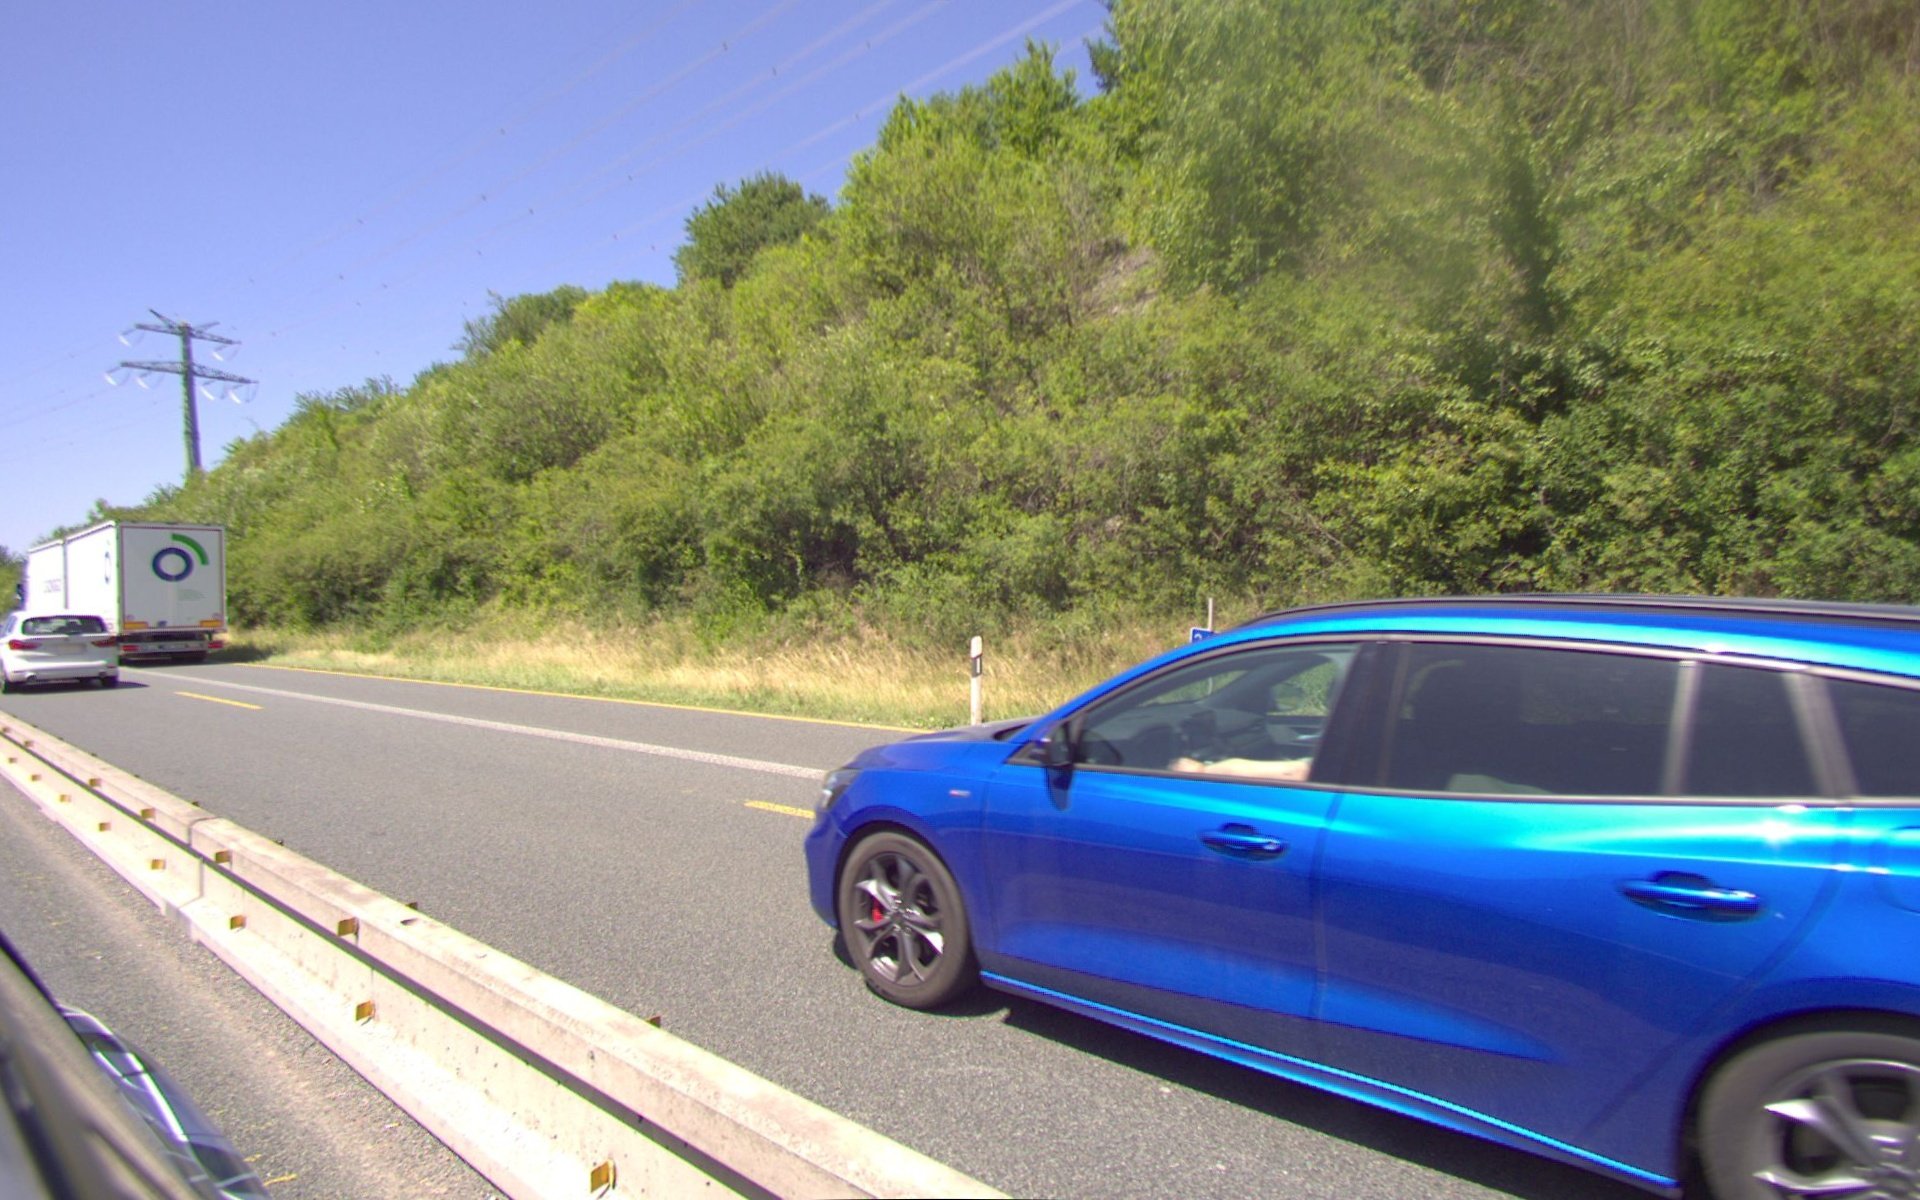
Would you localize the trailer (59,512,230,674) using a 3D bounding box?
[{"bbox_3d":[-25.097,-0.154,30.957,8.444,4.345,2.610,-1,1,42],"label":"trailer"}]

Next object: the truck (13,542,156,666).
[{"bbox_3d":[-32.257,0.178,37.067,10.345,4.022,2.385,-1,1,41],"label":"truck"}]

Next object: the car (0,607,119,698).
[{"bbox_3d":[-18.934,1.006,20.848,4.294,1.644,1.745,-1,0,40],"label":"car"}]

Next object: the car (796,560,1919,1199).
[{"bbox_3d":[1.528,0.641,3.092,4.167,1.436,1.695,-1,0,40],"label":"car"}]
